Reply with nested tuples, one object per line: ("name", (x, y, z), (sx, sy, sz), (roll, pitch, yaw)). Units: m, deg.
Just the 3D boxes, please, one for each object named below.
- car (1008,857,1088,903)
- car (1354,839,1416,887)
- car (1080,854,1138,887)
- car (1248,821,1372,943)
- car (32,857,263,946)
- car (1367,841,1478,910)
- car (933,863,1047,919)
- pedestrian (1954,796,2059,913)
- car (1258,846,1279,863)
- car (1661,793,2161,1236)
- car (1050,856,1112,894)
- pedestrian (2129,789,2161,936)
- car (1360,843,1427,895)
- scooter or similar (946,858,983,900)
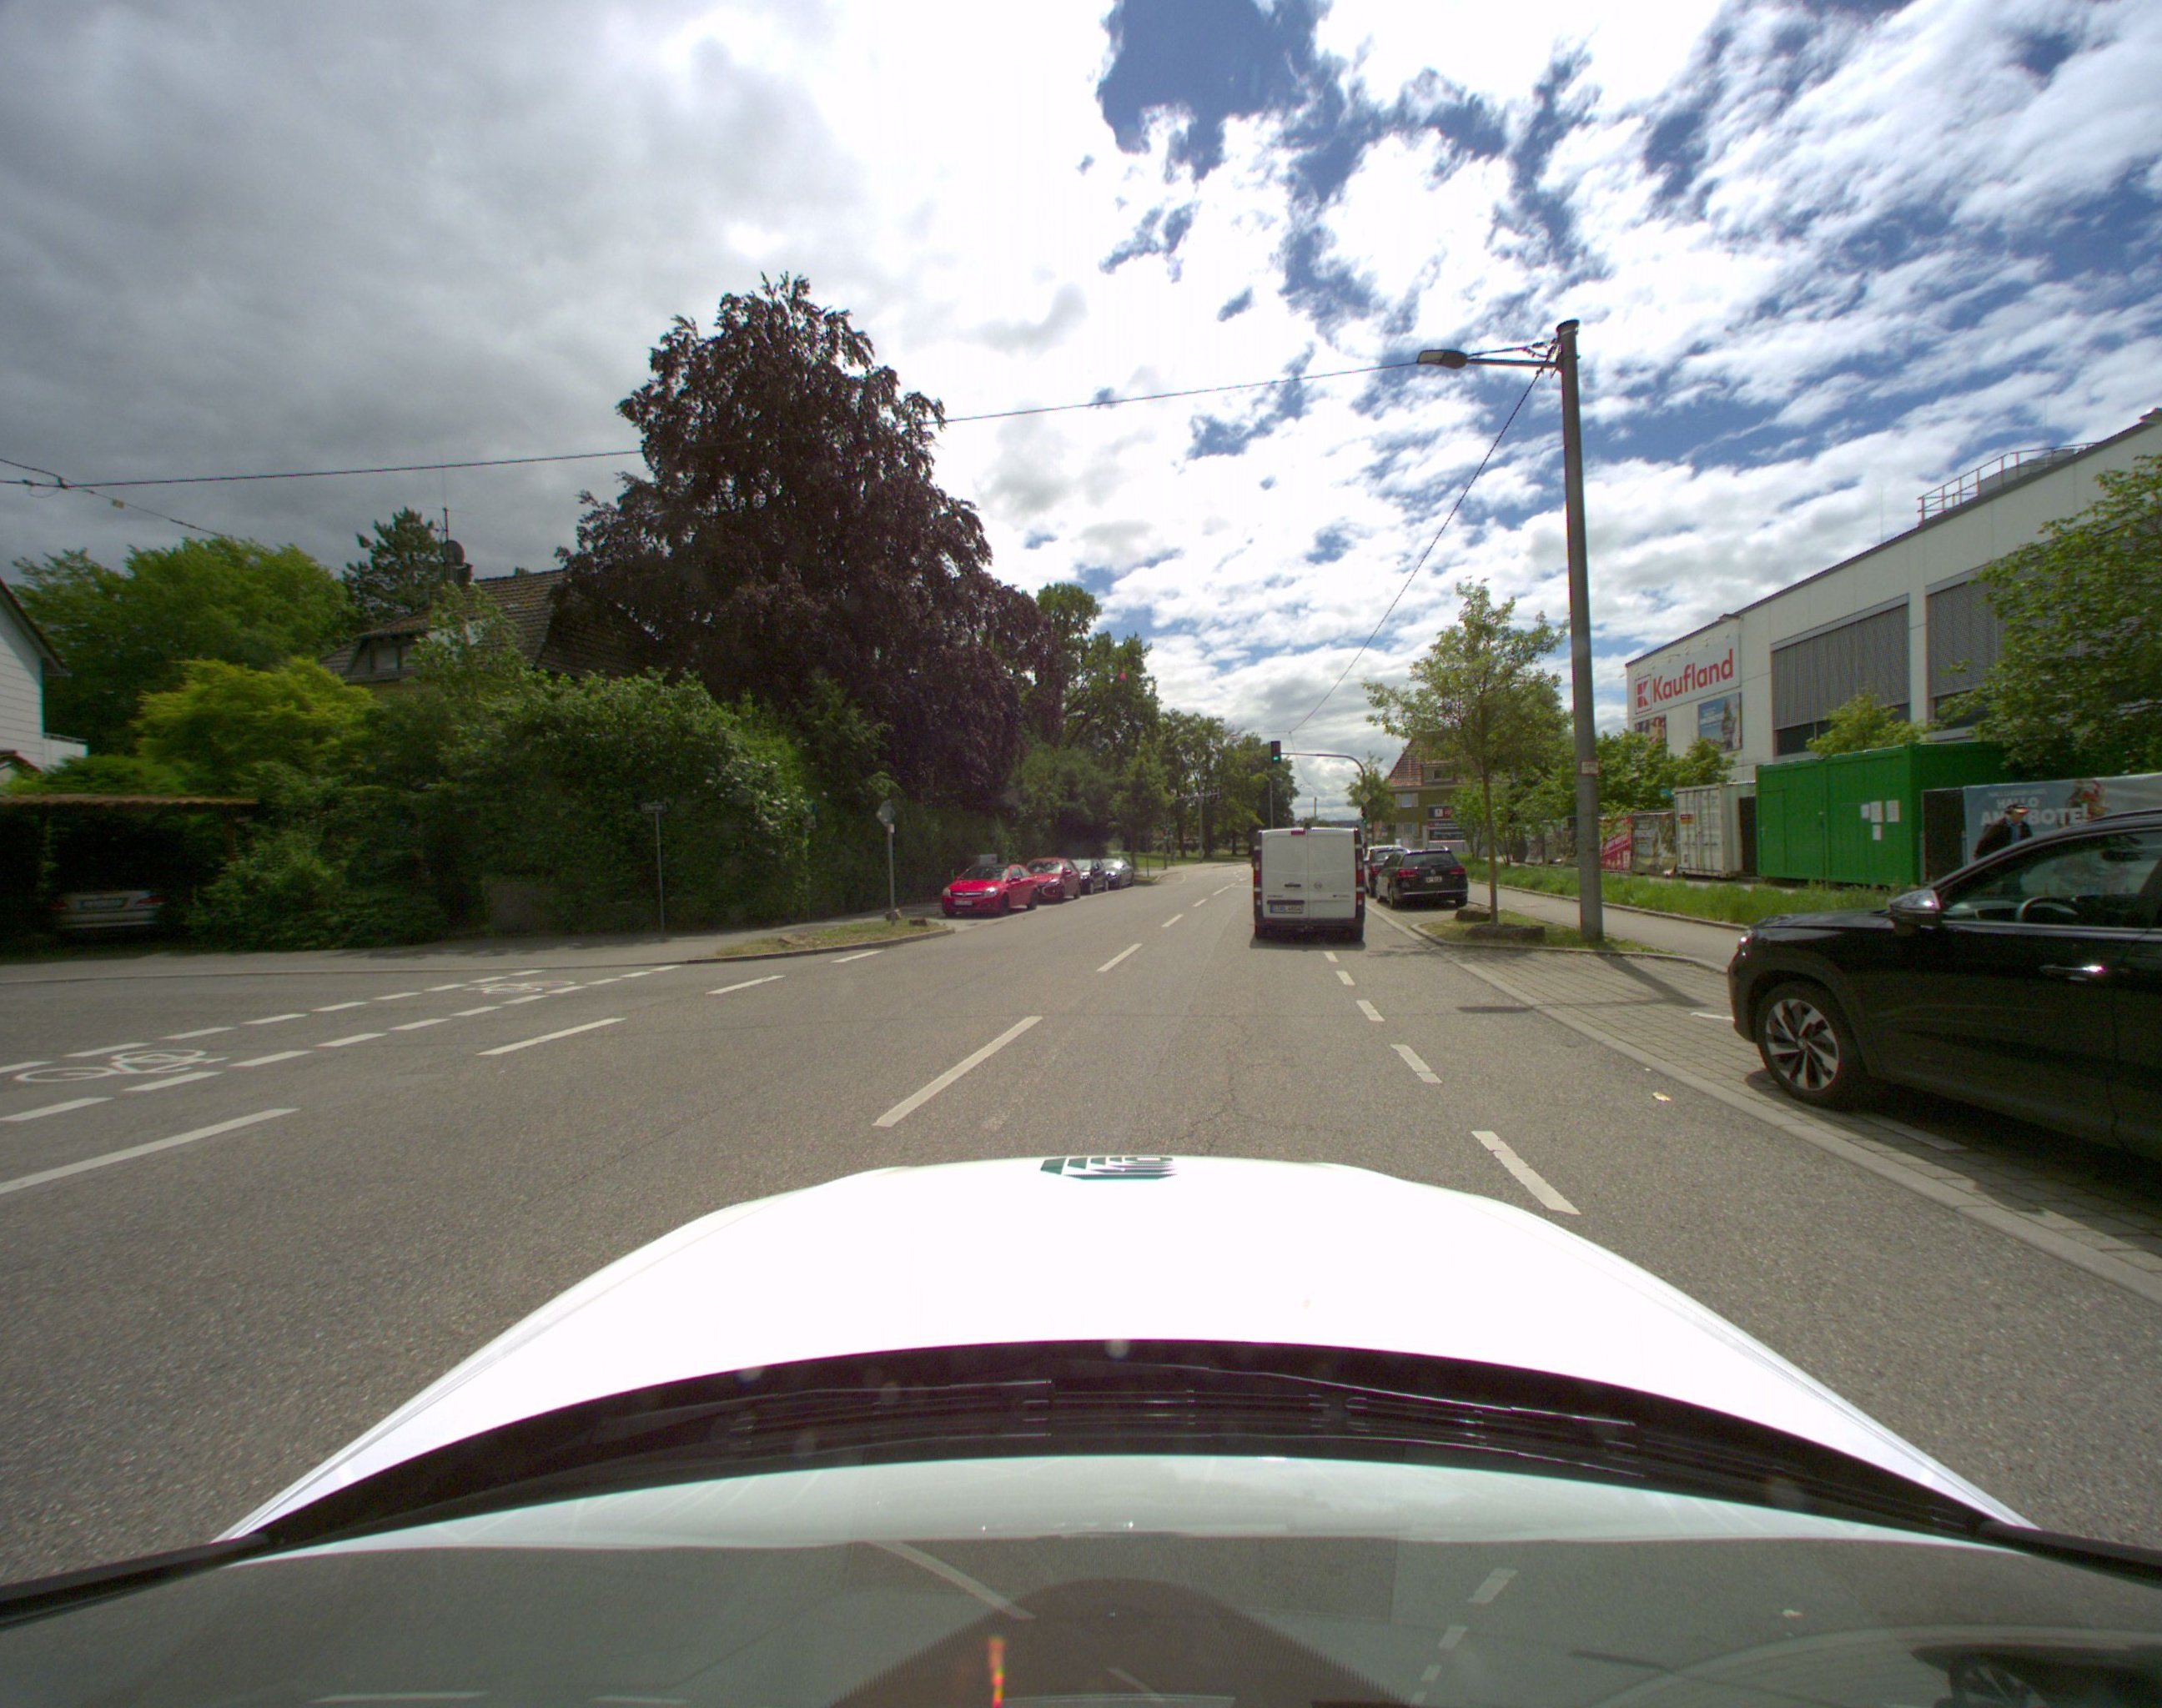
("car", (-1.068, 0.842, 28.407), (1.637, 1.450, 4.121), (-1, 0, 14))
("car", (11.729, 0.323, 31.655), (1.724, 1.616, 4.404), (-4, -1, 15))
("car", (1.367, 0.717, 37.294), (1.682, 1.365, 4.705), (0, 0, 14))
("car", (4.349, 0.440, 15.644), (1.924, 1.960, 4.852), (-1, 0, 15))
("car", (-18.486, 0.836, 16.390), (1.733, 1.510, 3.963), (-1, 1, -28))
("car", (8.789, 0.493, 21.371), (1.752, 1.477, 4.953), (-5, -1, 13))
("car", (-2.463, 0.977, 23.266), (1.648, 1.378, 4.584), (-1, 0, 15))
("pedestrian", (14.029, 0.014, 12.369), (0.647, 1.697, 0.847), (-2, 0, 12))
("car", (19.139, -0.002, 82.951), (1.819, 1.616, 4.169), (-3, 0, 15))
("car", (4.881, 0.538, 3.282), (1.870, 1.621, 4.853), (-3, 0, 5))
("car", (0.053, 0.826, 33.168), (1.583, 1.450, 3.611), (-1, 0, 16))
("pedestrian", (12.733, 0.092, 9.263), (0.646, 1.696, 0.727), (-2, 0, 12))
("car", (9.986, 0.439, 26.274), (1.556, 1.493, 4.016), (-3, -1, 15))
("scooter or similar", (-4.105, 0.883, 28.799), (0.665, 1.412, 1.656), (-1, 0, 16))
